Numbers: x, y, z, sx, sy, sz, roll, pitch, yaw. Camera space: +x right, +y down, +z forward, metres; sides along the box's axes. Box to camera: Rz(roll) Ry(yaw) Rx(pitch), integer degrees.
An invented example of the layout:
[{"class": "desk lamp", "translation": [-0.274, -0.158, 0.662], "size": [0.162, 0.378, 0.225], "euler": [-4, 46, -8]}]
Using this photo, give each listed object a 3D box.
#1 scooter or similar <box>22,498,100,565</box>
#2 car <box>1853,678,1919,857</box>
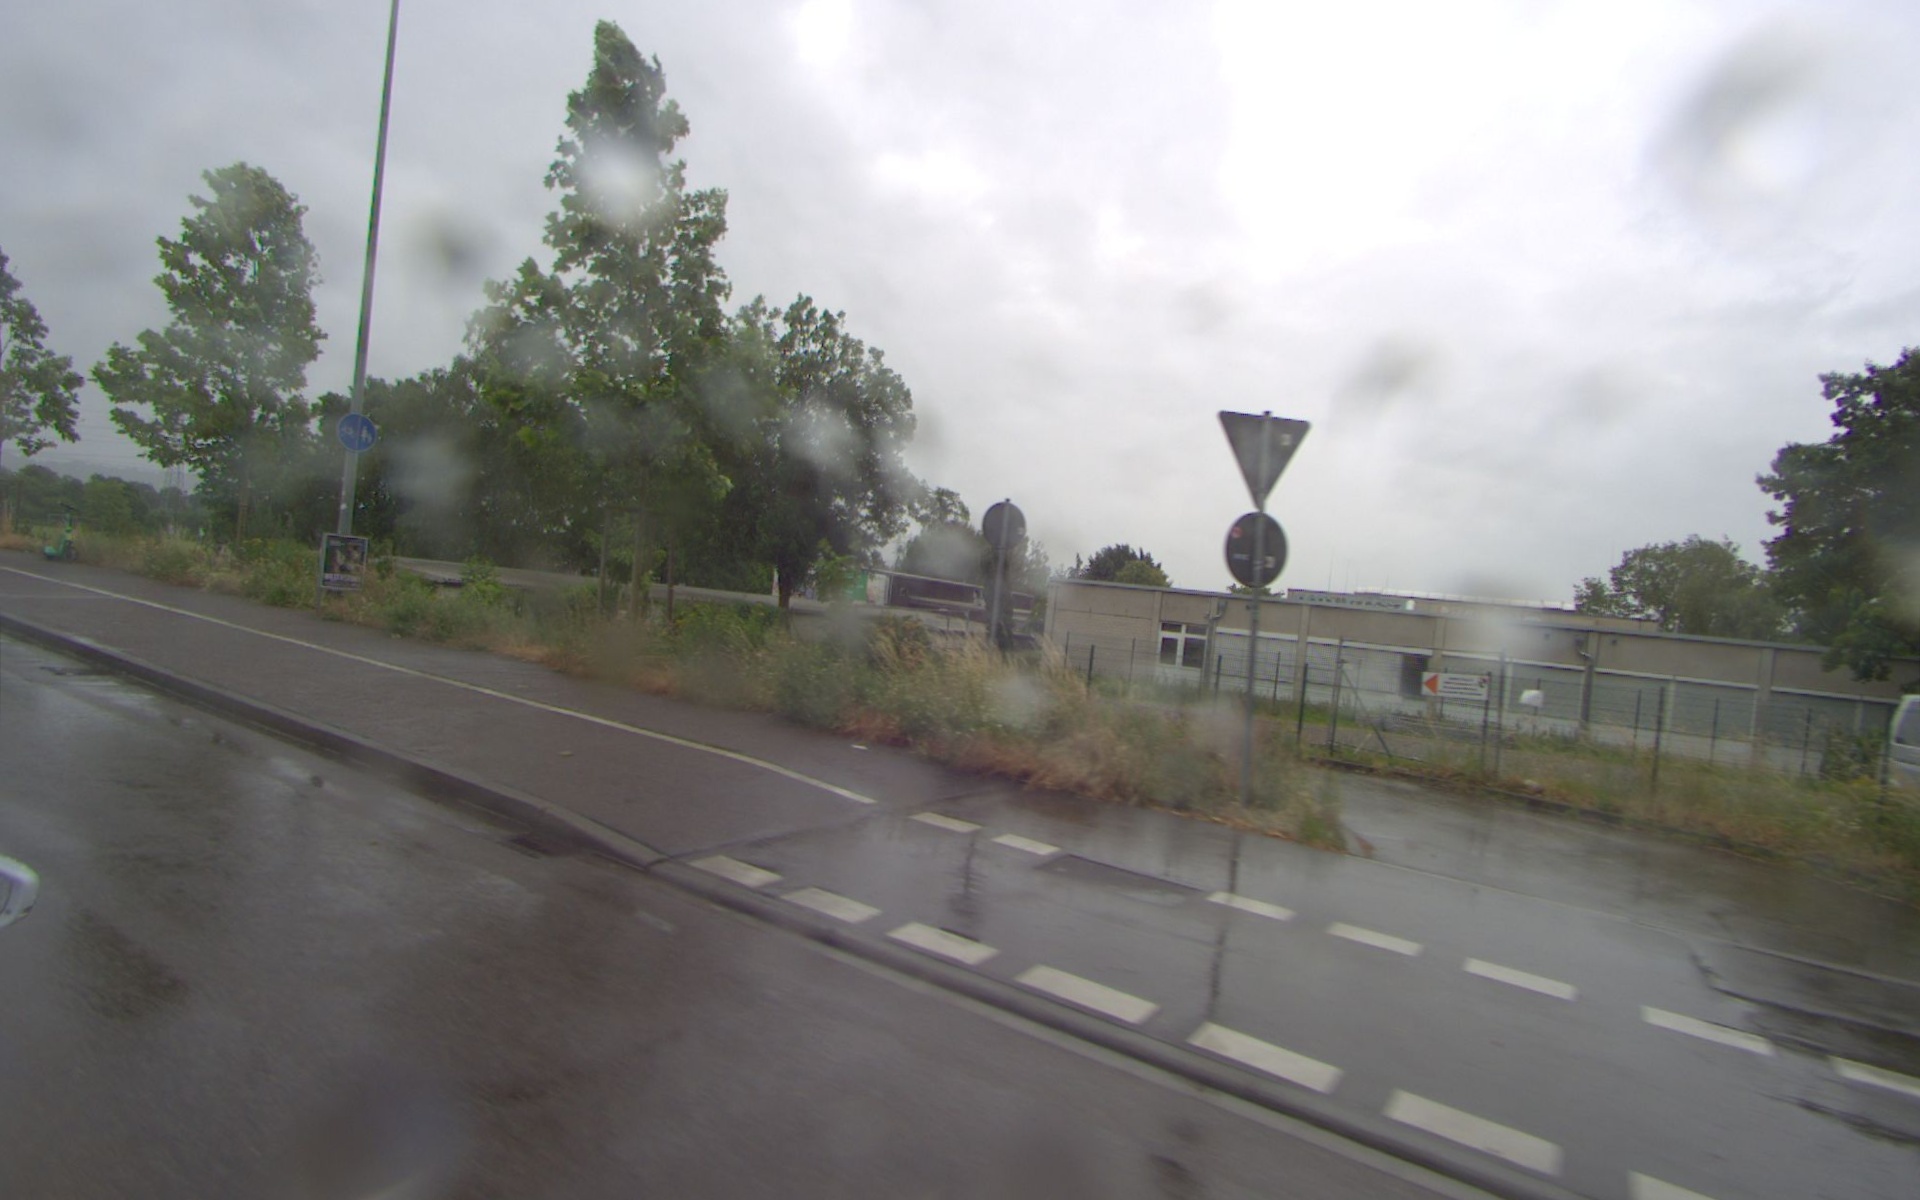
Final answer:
[{"class": "scooter or similar", "translation": [-18.627, -1.428, 20.847], "size": [1.536, 1.210, 0.644], "euler": [7, 1, 28]}, {"class": "car", "translation": [11.526, 1.926, 10.367], "size": [1.965, 2.036, 5.266], "euler": [7, -2, 27]}]
